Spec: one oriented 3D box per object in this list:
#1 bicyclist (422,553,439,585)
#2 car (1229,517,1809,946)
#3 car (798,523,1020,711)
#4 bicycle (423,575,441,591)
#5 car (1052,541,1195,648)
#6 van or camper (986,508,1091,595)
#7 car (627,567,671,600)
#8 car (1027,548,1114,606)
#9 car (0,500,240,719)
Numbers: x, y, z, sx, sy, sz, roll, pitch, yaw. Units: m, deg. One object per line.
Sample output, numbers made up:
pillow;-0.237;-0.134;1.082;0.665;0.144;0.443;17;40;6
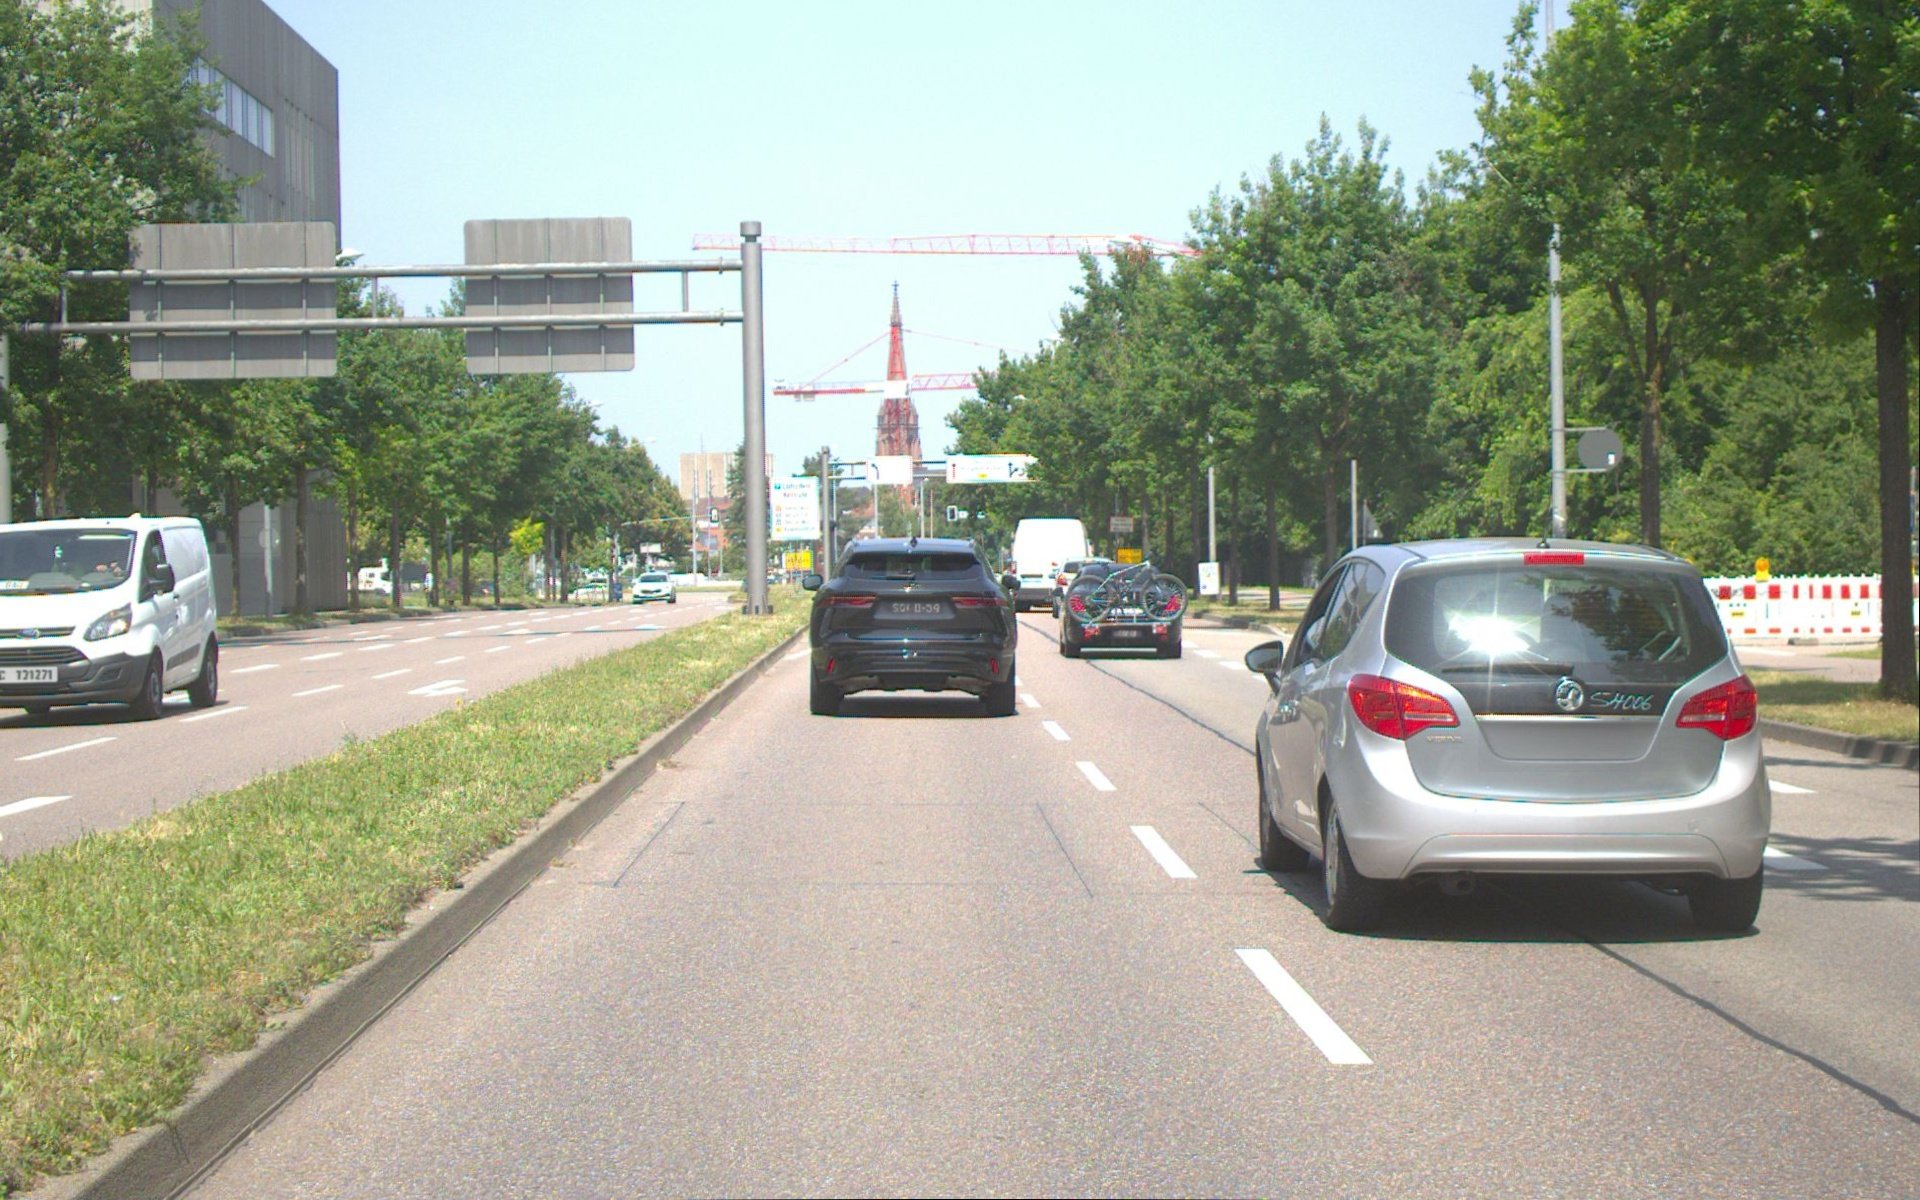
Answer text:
bicyclist;-24.404;-1.431;158.468;0.623;1.484;0.757;-1;0;2
car;2.269;0.467;14.947;1.792;1.606;3.891;0;1;-1
car;-0.444;0.130;33.067;1.998;1.684;4.034;0;1;1
bicycle;-24.382;-0.786;158.719;0.481;0.713;1.850;-1;0;2
car;2.438;-0.093;52.170;2.014;1.512;4.460;-1;0;1
van or camper;2.101;-1.300;93.731;2.493;2.283;4.921;-1;0;-3
car;-14.338;-0.762;158.637;1.810;1.422;4.359;-2;1;-3
car;2.708;-0.562;85.050;1.654;1.351;4.461;-1;0;-5
car;-8.667;0.065;34.314;1.909;1.986;4.898;-2;1;0
